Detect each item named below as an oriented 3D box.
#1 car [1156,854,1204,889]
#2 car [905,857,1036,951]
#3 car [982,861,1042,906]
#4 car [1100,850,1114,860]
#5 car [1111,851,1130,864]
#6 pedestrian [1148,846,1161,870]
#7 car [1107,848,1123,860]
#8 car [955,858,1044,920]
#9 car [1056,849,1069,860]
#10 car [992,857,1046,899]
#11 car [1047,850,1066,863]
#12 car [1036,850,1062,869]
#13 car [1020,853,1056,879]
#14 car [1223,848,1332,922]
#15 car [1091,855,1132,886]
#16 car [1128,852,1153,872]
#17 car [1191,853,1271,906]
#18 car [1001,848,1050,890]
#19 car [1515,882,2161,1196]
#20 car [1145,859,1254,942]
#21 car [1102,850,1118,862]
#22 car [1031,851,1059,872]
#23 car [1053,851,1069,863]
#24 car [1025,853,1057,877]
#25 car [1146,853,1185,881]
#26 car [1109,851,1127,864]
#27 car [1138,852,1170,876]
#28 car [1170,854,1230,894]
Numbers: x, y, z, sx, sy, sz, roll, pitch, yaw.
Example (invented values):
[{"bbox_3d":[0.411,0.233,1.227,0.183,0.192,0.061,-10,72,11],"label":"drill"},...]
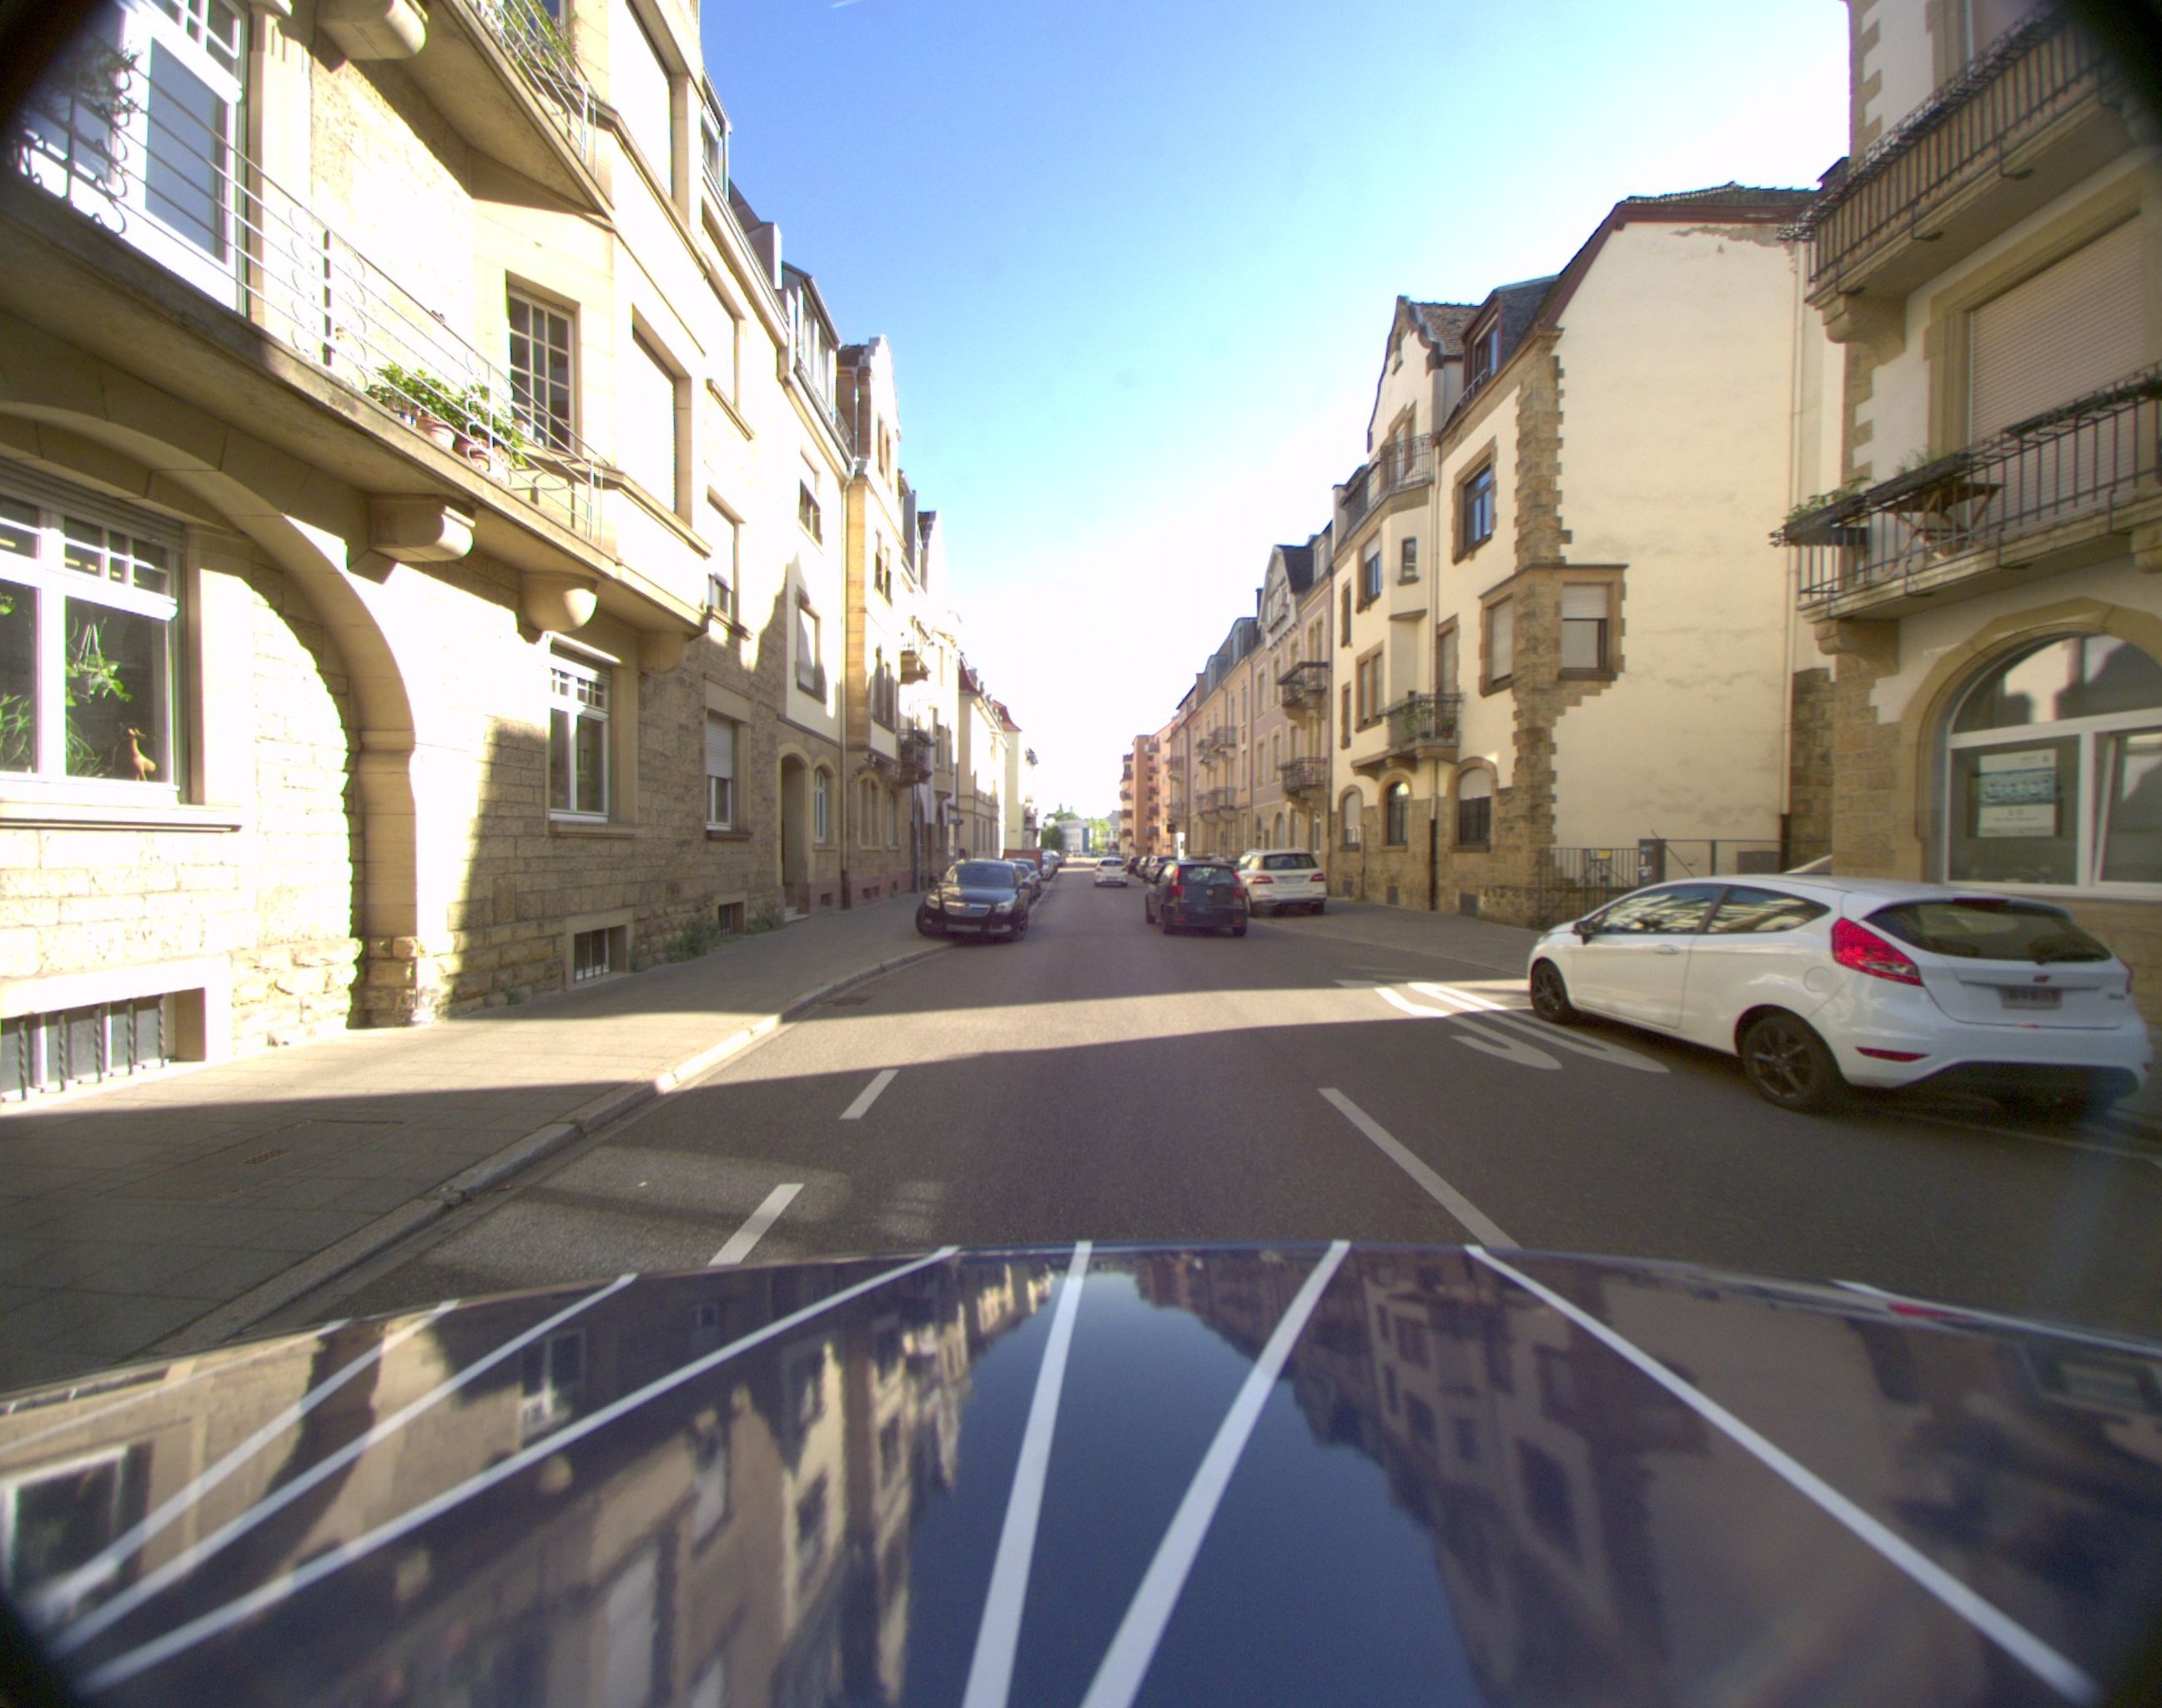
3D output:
[{"bbox_3d":[4.856,0.818,37.808,1.857,1.491,4.318,-2,1,1],"label":"car"},{"bbox_3d":[-2.049,0.883,15.278,2.024,1.500,4.111,2,1,-1],"label":"car"},{"bbox_3d":[-2.233,0.928,25.380,1.661,1.272,3.729,1,1,-1],"label":"car"},{"bbox_3d":[3.958,0.184,116.762,2.005,1.500,4.320,1,1,-1],"label":"car"},{"bbox_3d":[4.672,0.406,91.393,2.005,1.500,4.320,1,1,-1],"label":"car"},{"bbox_3d":[6.341,0.334,65.641,0.952,2.002,1.066,-2,1,0],"label":"pedestrian"},{"bbox_3d":[4.539,0.000,101.960,2.005,1.500,4.320,1,1,-1],"label":"car"},{"bbox_3d":[-2.096,0.876,20.801,2.005,1.499,4.321,1,0,-1],"label":"car"},{"bbox_3d":[-2.942,0.065,123.338,2.005,1.722,4.320,1,1,-1],"label":"car"},{"bbox_3d":[-2.384,0.892,30.122,1.824,1.415,4.320,1,1,-1],"label":"car"},{"bbox_3d":[-2.845,0.265,88.981,2.005,1.500,4.320,1,1,-1],"label":"car"},{"bbox_3d":[-2.672,0.452,64.501,2.005,1.500,4.320,1,1,-1],"label":"car"},{"bbox_3d":[-2.652,0.718,47.869,2.005,1.500,4.320,1,1,-1],"label":"car"},{"bbox_3d":[5.196,0.753,20.694,1.890,1.717,4.211,-2,1,1],"label":"car"},{"bbox_3d":[1.520,0.813,38.990,1.703,1.474,3.533,1,0,-4],"label":"car"},{"bbox_3d":[4.893,0.641,62.975,1.793,1.500,4.320,-2,1,1],"label":"car"},{"bbox_3d":[5.124,0.822,26.547,1.890,1.500,4.320,-4,1,1],"label":"car"},{"bbox_3d":[-2.558,0.652,35.733,2.005,1.828,4.320,1,1,-1],"label":"car"},{"bbox_3d":[5.113,1.017,5.715,1.656,1.449,3.643,2,0,2],"label":"car"},{"bbox_3d":[2.323,0.863,15.768,1.656,1.449,3.642,0,1,-1],"label":"car"},{"bbox_3d":[4.111,0.285,107.253,2.005,1.500,4.320,1,1,-1],"label":"car"},{"bbox_3d":[-2.745,0.536,58.668,2.005,1.500,4.320,1,1,-1],"label":"car"},{"bbox_3d":[-2.584,0.429,99.954,2.005,1.500,4.320,1,1,-1],"label":"car"},{"bbox_3d":[-2.748,0.737,52.643,2.005,1.500,4.320,1,1,-1],"label":"car"},{"bbox_3d":[5.021,0.734,45.834,1.890,1.500,4.320,-2,1,1],"label":"car"},{"bbox_3d":[4.622,0.390,96.208,2.005,1.500,4.320,1,1,-1],"label":"car"},{"bbox_3d":[4.992,0.668,52.353,1.809,1.500,4.003,-2,1,1],"label":"car"},{"bbox_3d":[4.985,0.796,32.368,1.890,1.500,4.320,-2,1,1],"label":"car"}]
